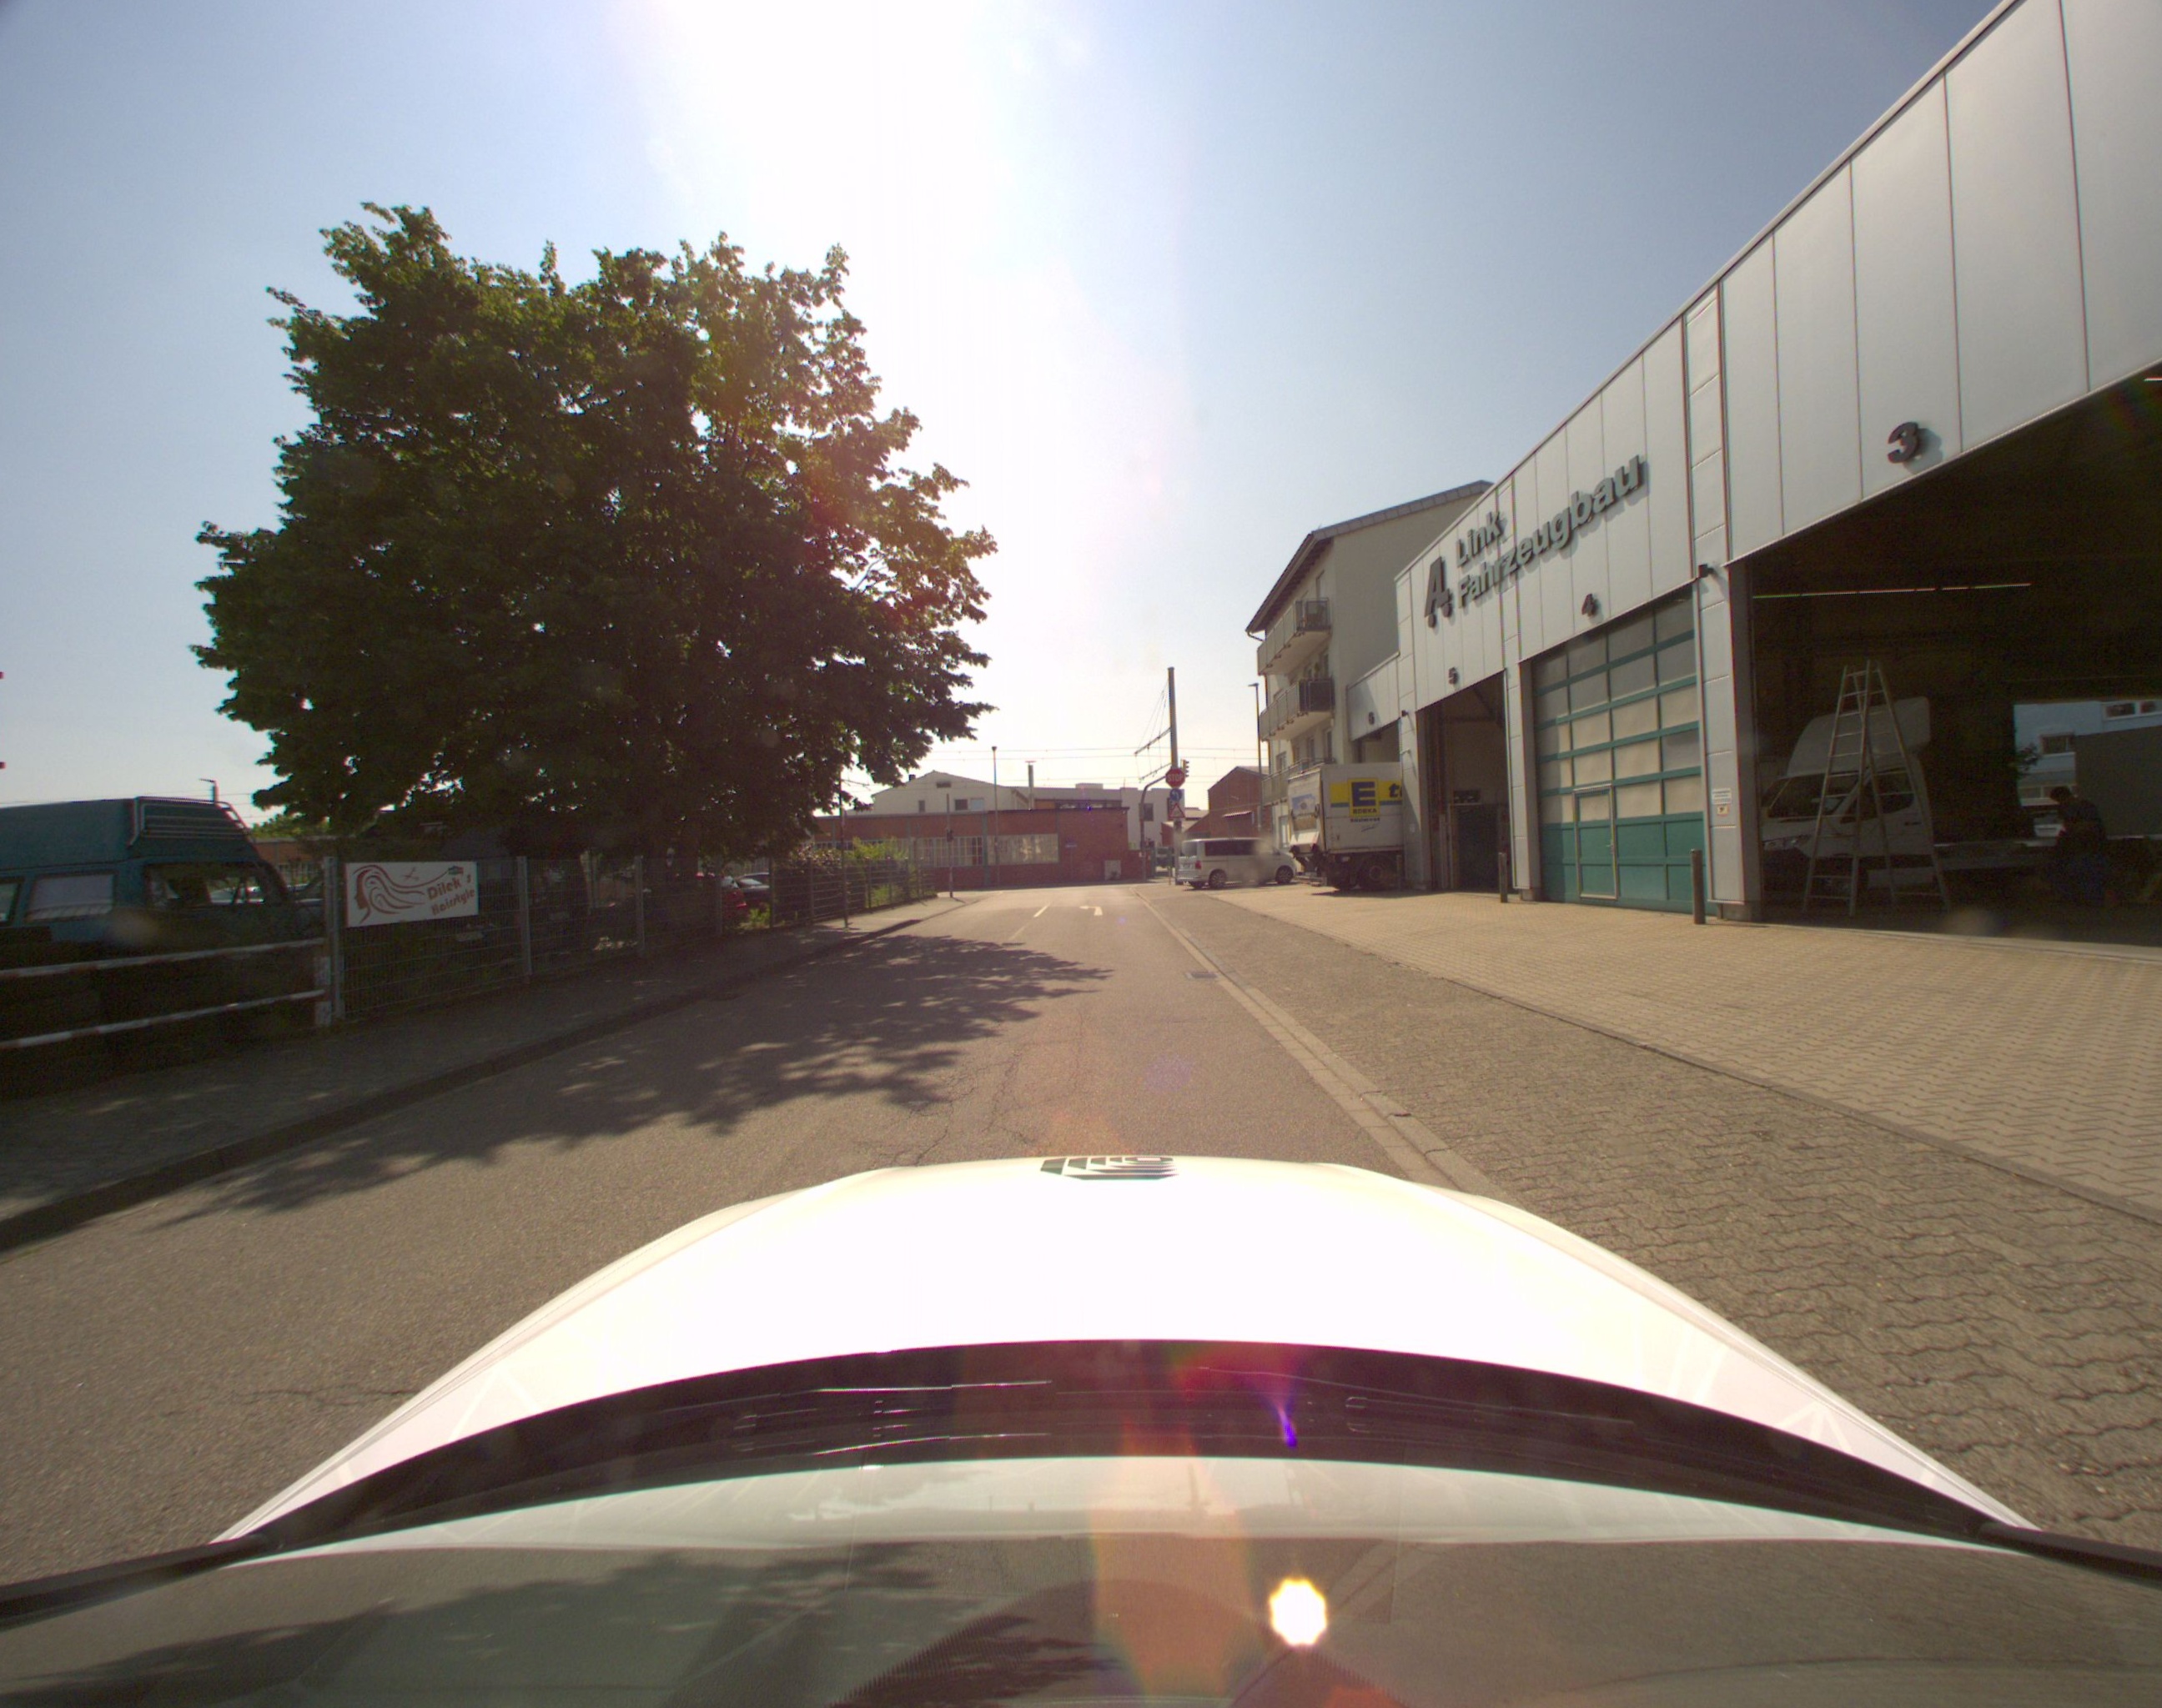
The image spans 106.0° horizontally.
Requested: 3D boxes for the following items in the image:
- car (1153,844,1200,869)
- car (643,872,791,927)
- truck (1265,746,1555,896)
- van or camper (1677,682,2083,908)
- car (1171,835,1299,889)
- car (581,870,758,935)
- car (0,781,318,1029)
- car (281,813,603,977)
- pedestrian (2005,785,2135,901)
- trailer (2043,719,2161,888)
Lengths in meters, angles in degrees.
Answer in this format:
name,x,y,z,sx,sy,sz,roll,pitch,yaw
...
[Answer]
name,x,y,z,sx,sy,sz,roll,pitch,yaw
car,9.132,0.254,77.590,4.013,2.189,1.980,-2,-1,-31
car,-10.885,1.348,24.492,3.640,1.477,1.739,-2,-1,7
truck,9.581,-0.944,24.176,7.348,3.645,2.763,-5,0,-5
van or camper,12.895,-0.914,13.368,4.744,3.288,1.998,-2,-1,-3
car,6.157,0.307,32.571,4.667,1.958,1.904,-2,-1,-18
car,-10.638,1.230,21.232,3.648,1.477,1.736,-2,-1,0
car,-11.660,0.574,9.307,4.073,2.513,1.776,-2,-1,-1
car,-10.904,0.669,14.126,4.073,2.513,1.776,-2,-1,-1
pedestrian,14.513,-0.155,11.977,0.809,1.620,0.865,-2,-1,-1
trailer,19.949,-0.894,13.737,4.479,2.764,2.437,-2,-1,0
